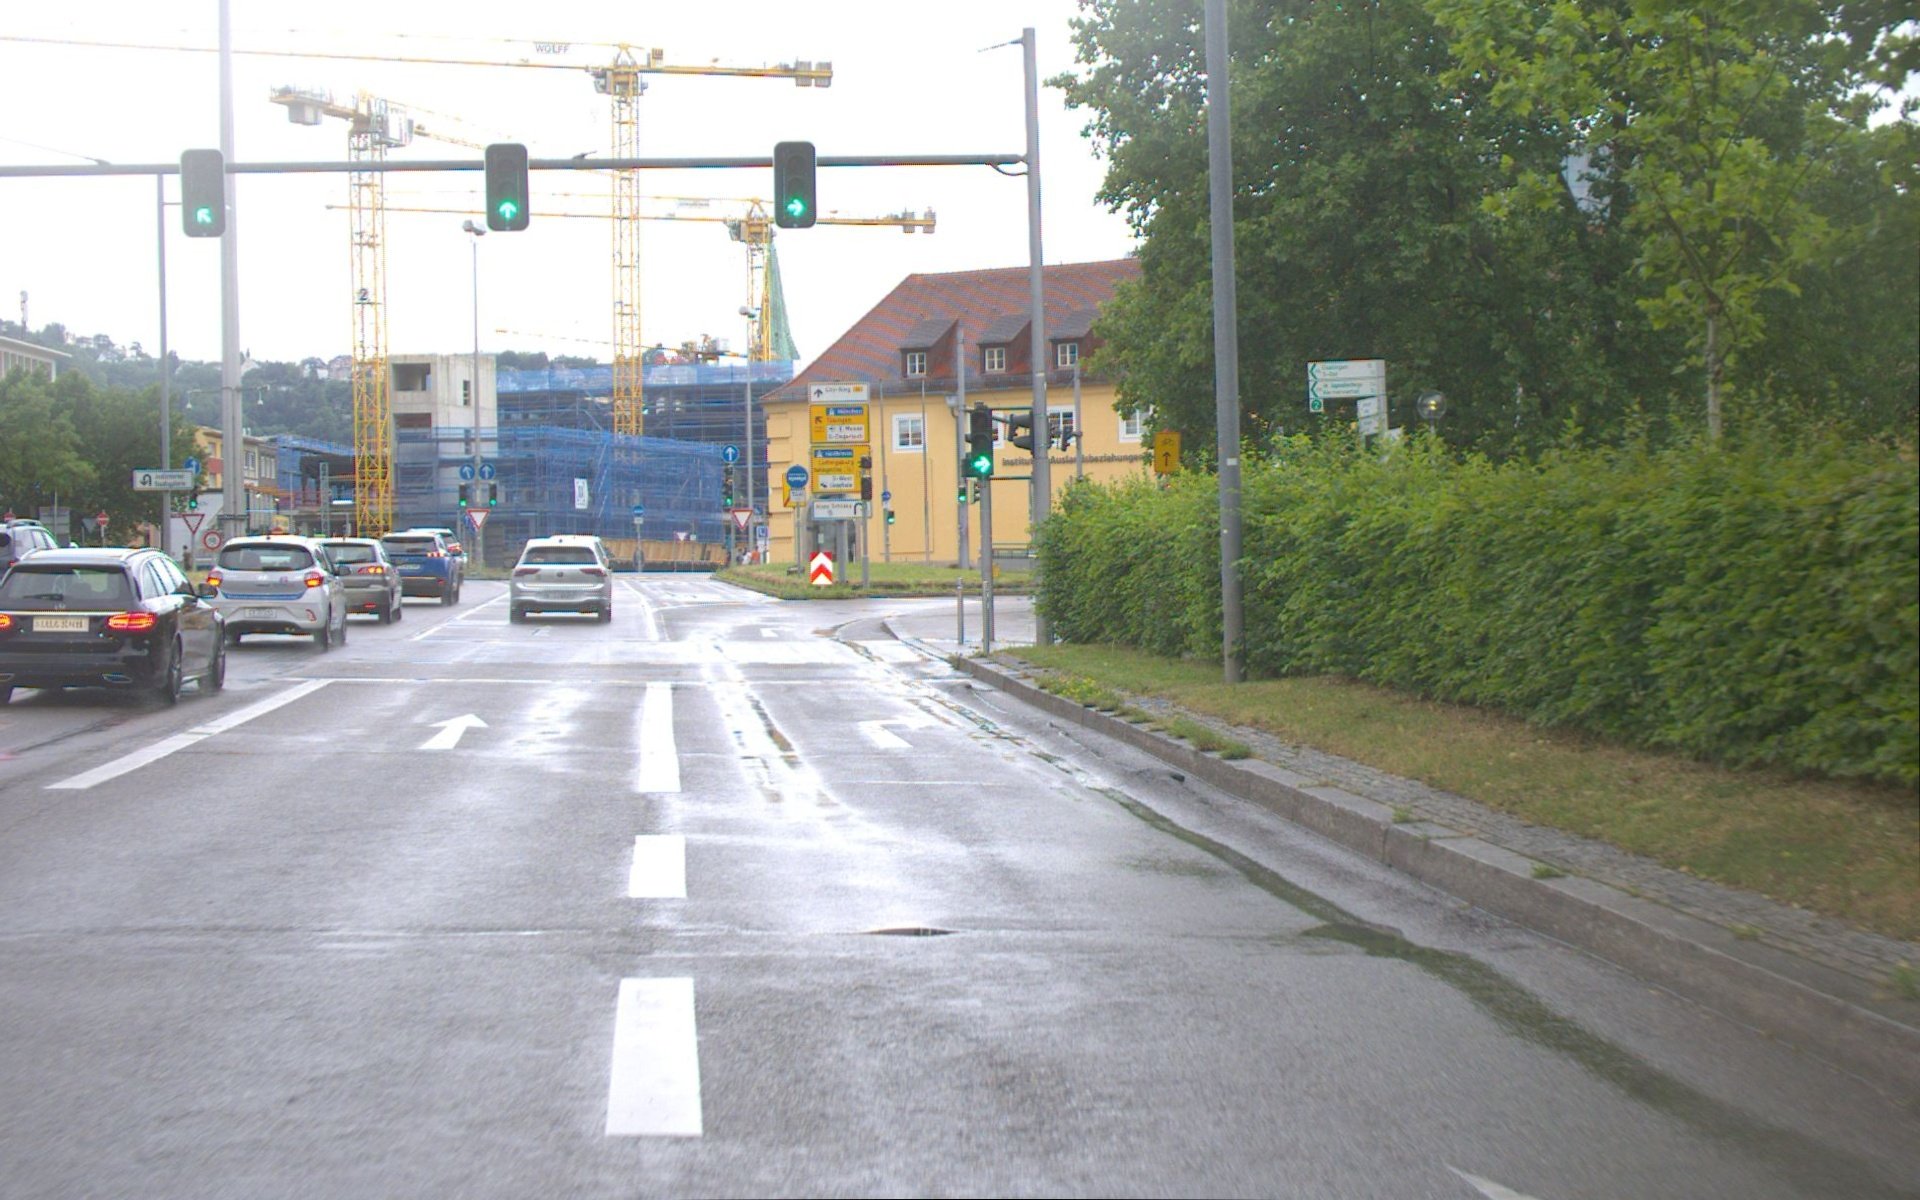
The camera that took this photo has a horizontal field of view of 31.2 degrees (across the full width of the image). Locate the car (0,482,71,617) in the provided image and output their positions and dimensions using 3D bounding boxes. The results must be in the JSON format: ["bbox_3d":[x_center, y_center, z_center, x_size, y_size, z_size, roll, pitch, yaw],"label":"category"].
[{"bbox_3d":[-12.663,-0.634,45.148,1.464,1.700,3.142,1,-1,-6],"label":"car"}]

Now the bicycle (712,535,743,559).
[{"bbox_3d":[-10.679,-2.429,157.758,0.880,1.006,1.993,1,-1,-20],"label":"bicycle"}]

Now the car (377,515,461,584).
[{"bbox_3d":[-11.284,-1.041,71.829,1.493,1.365,3.034,1,0,-5],"label":"car"}]

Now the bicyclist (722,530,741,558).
[{"bbox_3d":[-10.439,-2.574,157.340,0.703,1.271,0.635,1,-1,-20],"label":"bicyclist"}]

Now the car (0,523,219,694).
[{"bbox_3d":[-8.117,0.087,31.986,1.829,1.489,3.399,1,0,-2],"label":"car"}]

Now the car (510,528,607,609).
[{"bbox_3d":[-6.953,-0.529,59.744,1.444,1.354,2.412,1,-1,-1],"label":"car"}]

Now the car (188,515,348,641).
[{"bbox_3d":[-9.437,-0.275,47.079,1.880,1.647,3.458,1,-1,-7],"label":"car"}]

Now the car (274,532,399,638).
[{"bbox_3d":[-10.515,-0.236,58.169,1.716,1.721,3.495,1,-1,-4],"label":"car"}]
